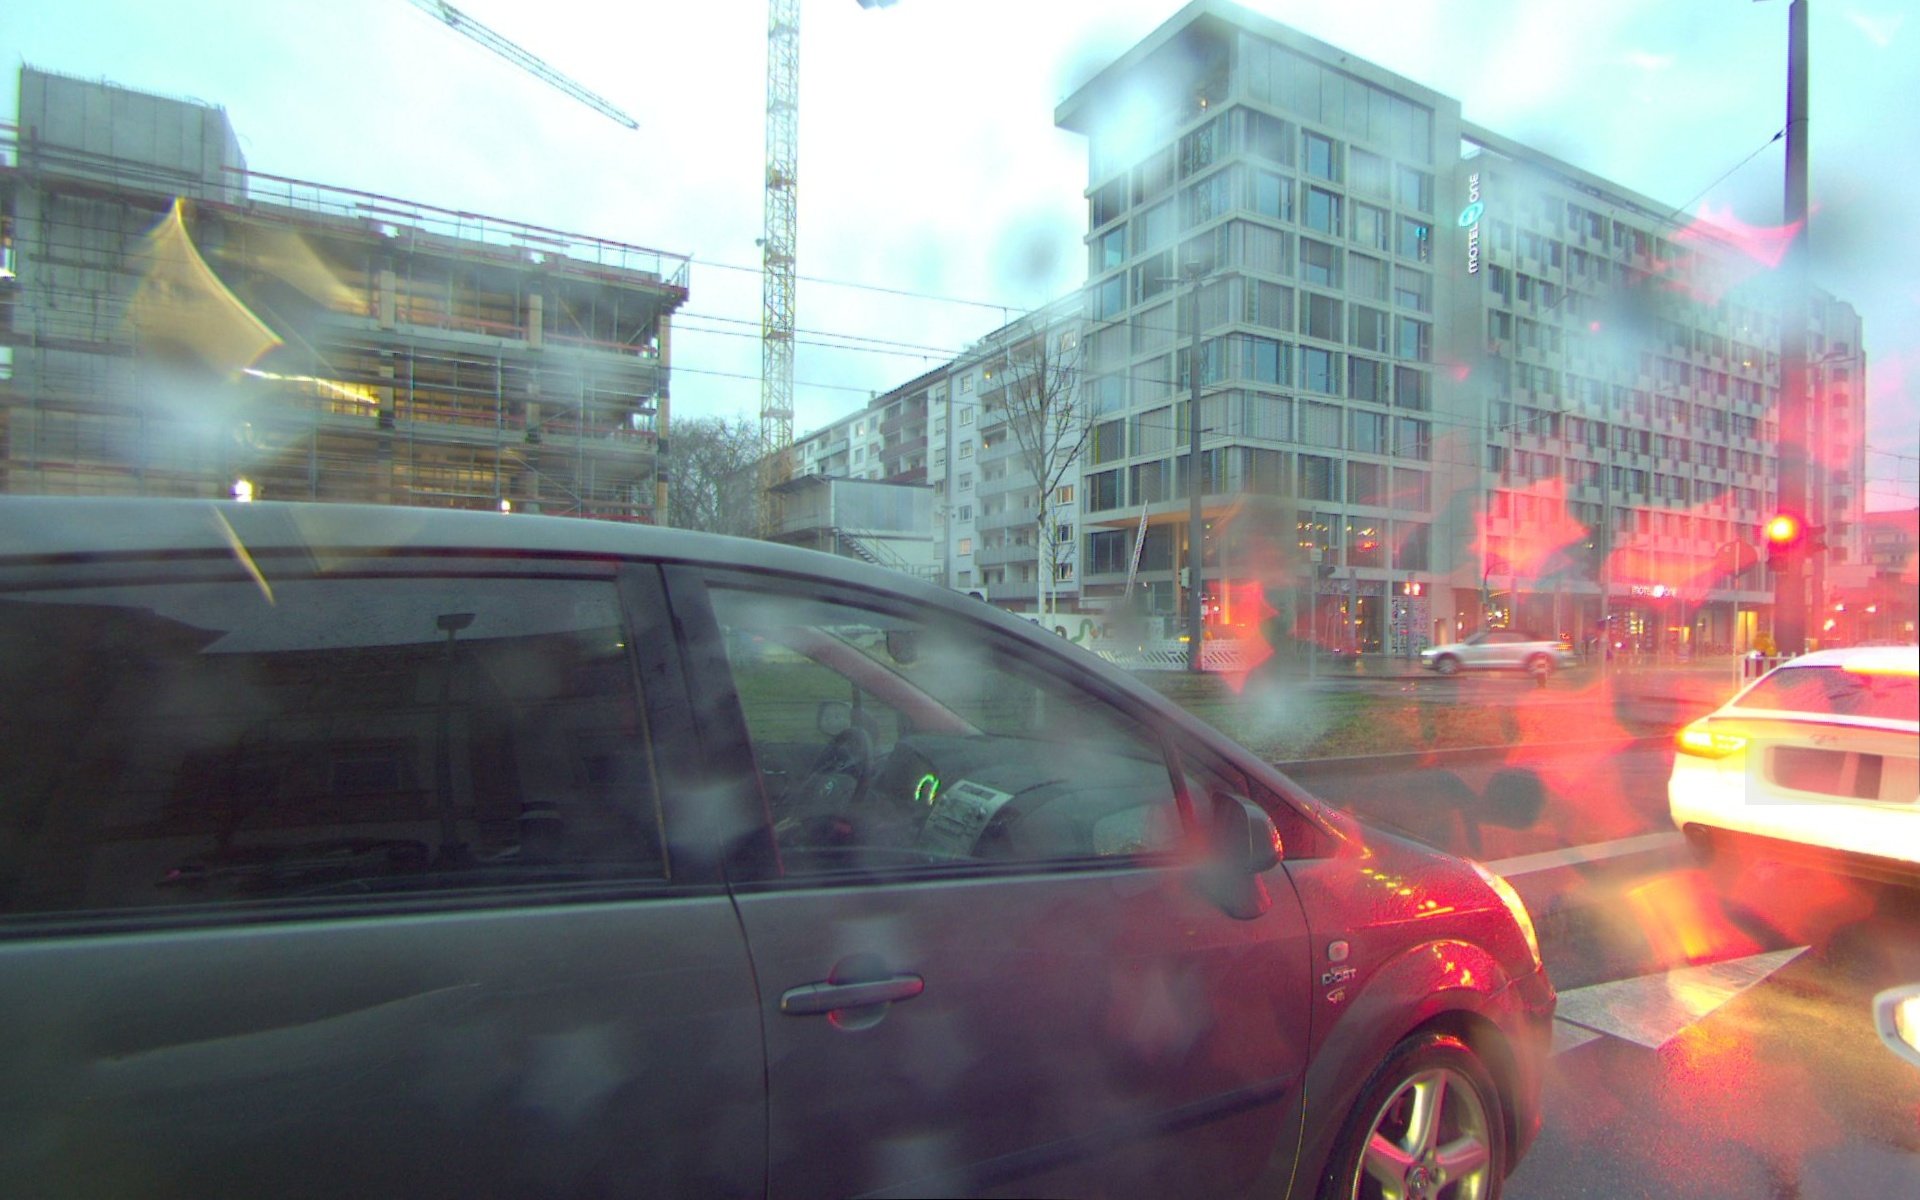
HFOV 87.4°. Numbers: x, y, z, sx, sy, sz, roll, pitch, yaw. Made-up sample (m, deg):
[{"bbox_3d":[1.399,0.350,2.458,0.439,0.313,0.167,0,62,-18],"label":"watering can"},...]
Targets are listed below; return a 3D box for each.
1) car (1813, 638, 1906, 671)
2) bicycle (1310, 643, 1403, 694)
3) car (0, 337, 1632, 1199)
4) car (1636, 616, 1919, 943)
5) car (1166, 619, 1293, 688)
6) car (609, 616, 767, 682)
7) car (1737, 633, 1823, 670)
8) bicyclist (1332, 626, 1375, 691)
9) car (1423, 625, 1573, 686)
[{"bbox_3d":[44.399,2.684,49.553,5.035,1.481,1.984,2,0,-30],"label":"car"},{"bbox_3d":[17.974,3.076,45.675,1.180,2.040,3.964,2,0,-32],"label":"bicycle"},{"bbox_3d":[-0.503,0.597,2.132,3.956,1.615,1.750,2,0,-32],"label":"car"},{"bbox_3d":[6.078,0.905,6.078,4.205,1.489,1.750,2,0,-32],"label":"car"},{"bbox_3d":[9.257,1.811,34.831,4.001,2.151,1.960,2,0,8],"label":"car"},{"bbox_3d":[-7.689,1.371,28.416,4.028,1.709,1.947,2,0,-25],"label":"car"},{"bbox_3d":[42.518,2.668,52.091,4.542,1.813,1.873,2,0,-29],"label":"car"},{"bbox_3d":[17.920,2.643,45.759,1.180,2.865,1.340,2,0,-33],"label":"bicyclist"},{"bbox_3d":[17.267,1.721,32.295,4.017,1.709,1.952,2,0,36],"label":"car"}]
